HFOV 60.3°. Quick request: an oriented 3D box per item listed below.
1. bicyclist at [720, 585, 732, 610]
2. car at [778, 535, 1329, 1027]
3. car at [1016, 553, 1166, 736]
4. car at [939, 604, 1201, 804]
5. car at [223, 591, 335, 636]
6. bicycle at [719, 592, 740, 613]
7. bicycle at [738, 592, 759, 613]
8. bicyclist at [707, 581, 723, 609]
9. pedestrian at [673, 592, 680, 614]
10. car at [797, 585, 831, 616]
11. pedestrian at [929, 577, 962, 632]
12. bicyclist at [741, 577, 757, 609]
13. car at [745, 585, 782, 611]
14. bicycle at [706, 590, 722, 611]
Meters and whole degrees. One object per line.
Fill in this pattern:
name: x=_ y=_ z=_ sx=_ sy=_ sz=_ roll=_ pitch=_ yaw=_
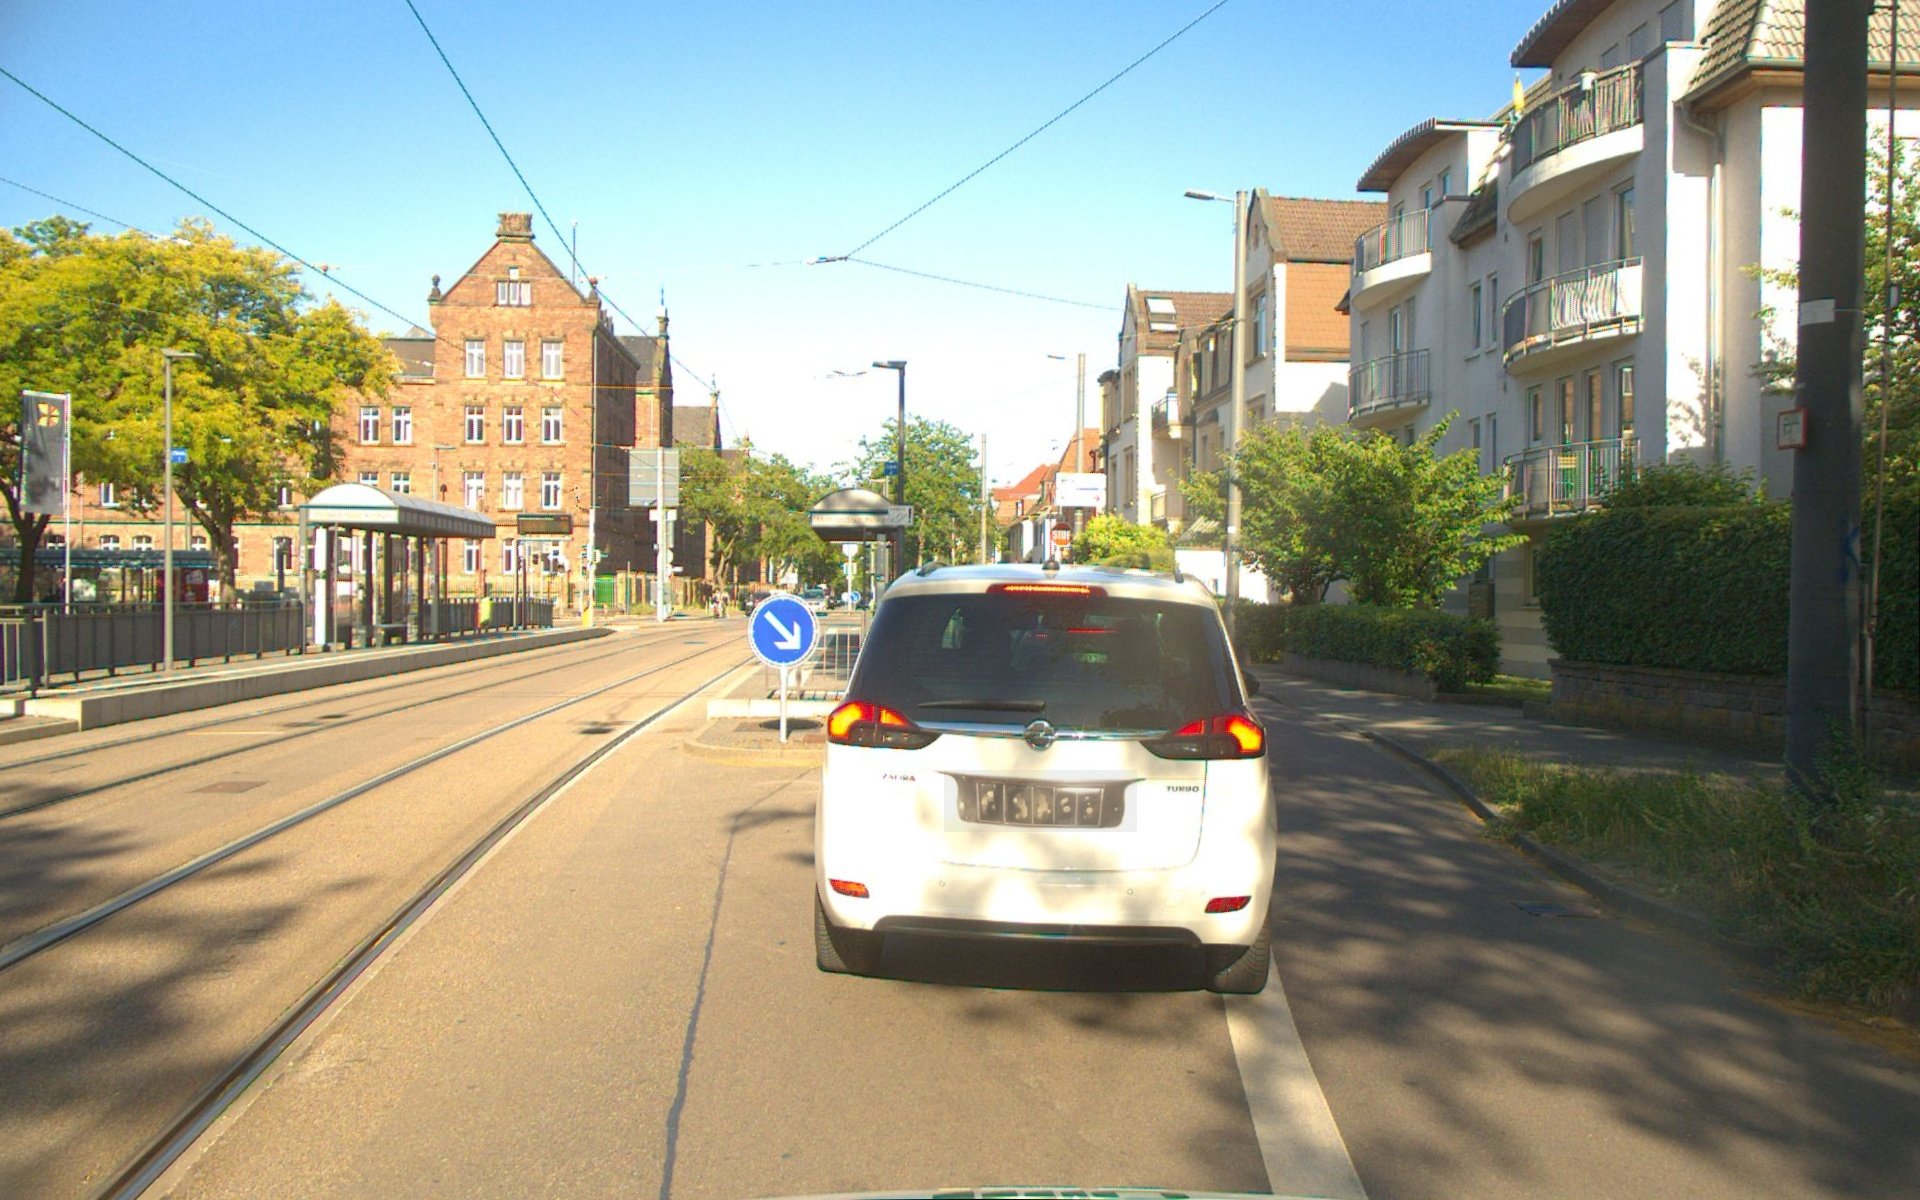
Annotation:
bicyclist: x=-15.379 y=-0.143 z=108.817 sx=0.688 sy=1.635 sz=0.657 roll=0 pitch=0 yaw=-3
car: x=0.487 y=0.662 z=7.706 sx=1.852 sy=1.639 sz=4.231 roll=0 pitch=-2 yaw=5
car: x=1.691 y=0.496 z=20.530 sx=1.672 sy=2.049 sz=3.909 roll=0 pitch=0 yaw=7
car: x=1.042 y=0.777 z=14.378 sx=1.951 sy=1.468 sz=4.003 roll=0 pitch=0 yaw=6
car: x=-28.666 y=0.548 z=69.727 sx=3.911 sy=1.821 sz=1.997 roll=1 pitch=0 yaw=-8
bicycle: x=-15.194 y=0.147 z=109.070 sx=1.125 sy=1.319 sz=2.858 roll=0 pitch=0 yaw=-4
bicycle: x=-13.466 y=0.175 z=105.283 sx=1.125 sy=1.319 sz=2.858 roll=0 pitch=0 yaw=-4
bicyclist: x=-15.208 y=-0.315 z=102.661 sx=0.925 sy=1.765 sz=0.860 roll=0 pitch=0 yaw=-3
pedestrian: x=-19.355 y=0.219 z=112.884 sx=0.354 sy=1.463 sz=0.549 roll=0 pitch=0 yaw=-1
car: x=-9.428 y=0.062 z=107.109 sx=1.953 sy=1.947 sz=3.998 roll=0 pitch=0 yaw=-2
pedestrian: x=-0.561 y=0.148 z=62.433 sx=1.133 sy=2.049 sz=1.118 roll=0 pitch=0 yaw=-6
bicyclist: x=-13.433 y=-0.455 z=105.281 sx=0.932 sy=2.049 sz=0.822 roll=0 pitch=0 yaw=-6
car: x=-13.489 y=-0.169 z=113.523 sx=1.952 sy=1.752 sz=4.001 roll=0 pitch=0 yaw=2
bicycle: x=-15.205 y=0.017 z=102.372 sx=0.805 sy=1.319 sz=2.675 roll=0 pitch=0 yaw=-4
